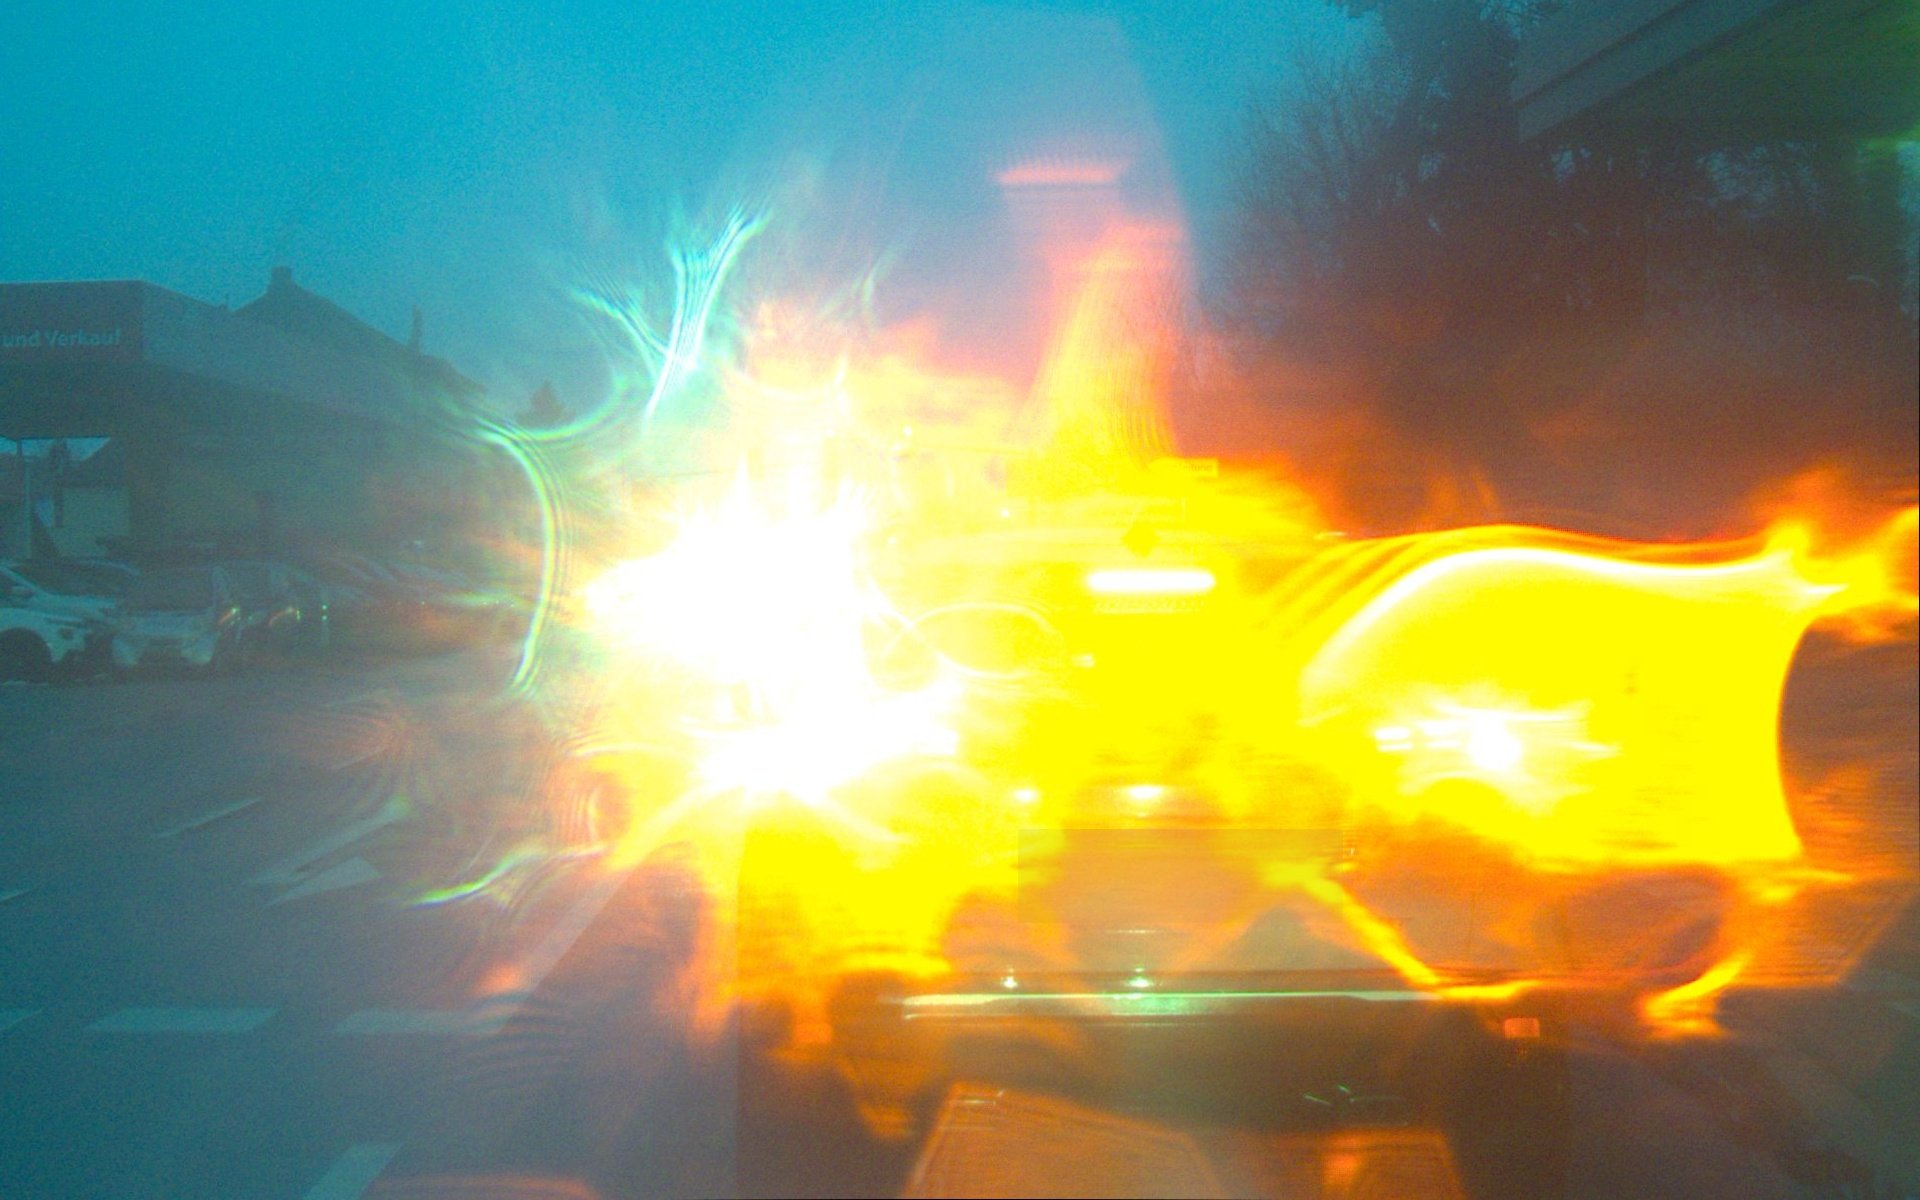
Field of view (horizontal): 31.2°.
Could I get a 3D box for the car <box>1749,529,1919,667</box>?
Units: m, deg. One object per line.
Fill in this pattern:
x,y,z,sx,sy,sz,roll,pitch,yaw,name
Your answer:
11.805,-0.070,42.232,4.471,1.603,2.018,-2,1,-45,car

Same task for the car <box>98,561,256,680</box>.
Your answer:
-10.844,0.254,47.767,1.518,1.537,3.015,-2,1,-2,car

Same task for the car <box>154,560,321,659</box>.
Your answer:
-10.910,0.120,52.129,1.682,1.416,3.740,-1,1,1,car

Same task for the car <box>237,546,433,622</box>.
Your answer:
-14.878,-0.390,81.981,4.276,1.657,2.000,2,1,-1,car

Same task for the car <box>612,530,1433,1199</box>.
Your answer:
0.092,0.606,8.581,1.565,1.524,4.007,0,1,-1,car

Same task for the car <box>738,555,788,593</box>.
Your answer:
-9.397,-1.259,164.422,1.993,1.740,4.000,-2,1,2,car

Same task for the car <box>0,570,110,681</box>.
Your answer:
-13.560,0.328,46.464,3.771,1.454,1.776,0,1,-4,car

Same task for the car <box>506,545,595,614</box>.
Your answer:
-11.365,-0.596,95.668,1.970,1.824,4.513,-2,1,-1,car

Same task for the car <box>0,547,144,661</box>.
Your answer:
-14.466,0.064,51.350,4.047,1.644,1.942,-1,1,1,car

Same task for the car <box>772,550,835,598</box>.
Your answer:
-5.542,-0.913,121.182,2.047,1.567,4.704,-2,0,-4,car

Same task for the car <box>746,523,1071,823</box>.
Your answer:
-0.306,0.354,20.550,1.708,1.570,4.464,-1,1,-1,car

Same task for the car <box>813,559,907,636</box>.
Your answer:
-1.804,-0.070,62.879,1.653,1.331,4.272,-1,1,-1,car

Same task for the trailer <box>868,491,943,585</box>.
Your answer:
-2.016,-2.151,122.914,2.488,3.230,10.869,0,0,-2,trailer

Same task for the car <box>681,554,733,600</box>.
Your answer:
-8.979,-0.823,122.222,1.603,1.529,4.000,-3,1,-2,car
